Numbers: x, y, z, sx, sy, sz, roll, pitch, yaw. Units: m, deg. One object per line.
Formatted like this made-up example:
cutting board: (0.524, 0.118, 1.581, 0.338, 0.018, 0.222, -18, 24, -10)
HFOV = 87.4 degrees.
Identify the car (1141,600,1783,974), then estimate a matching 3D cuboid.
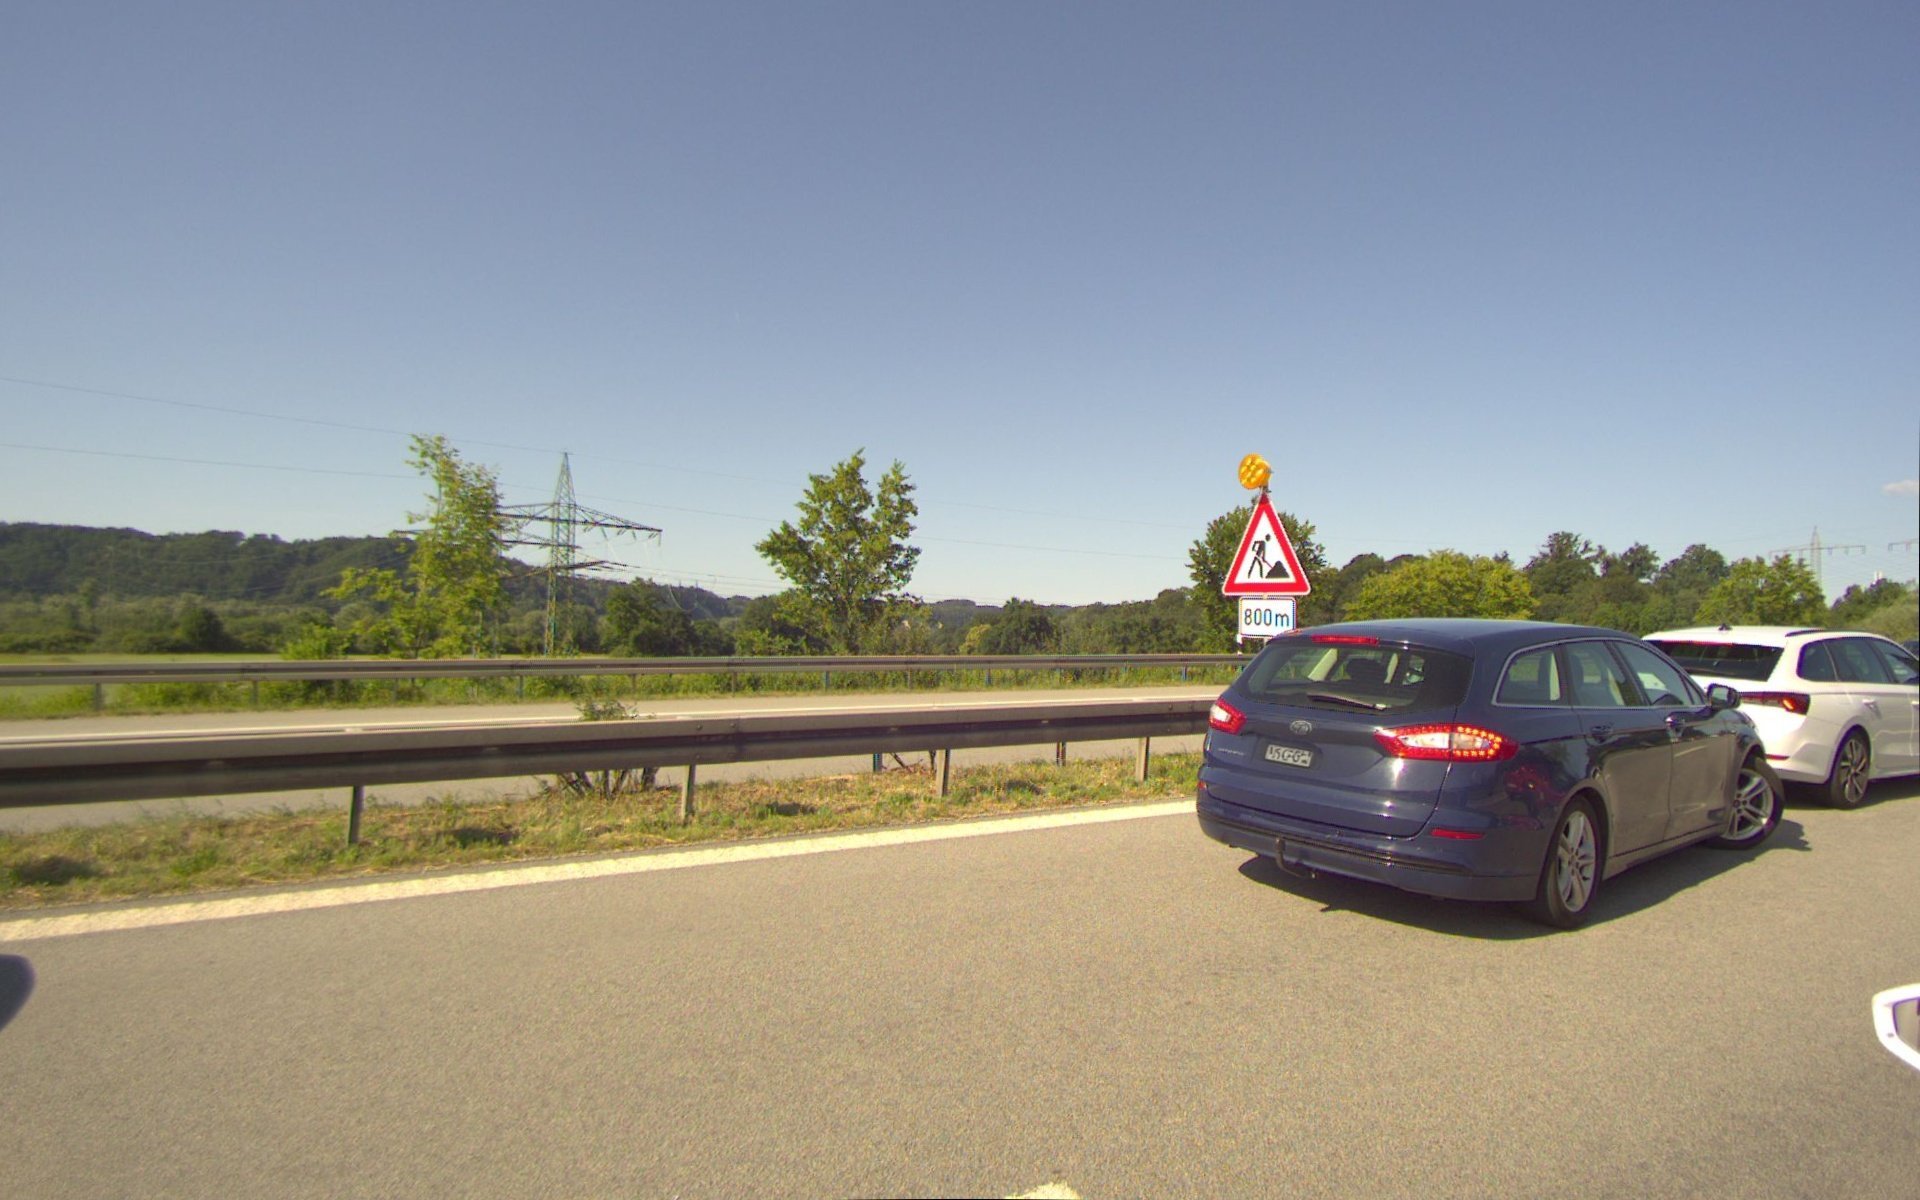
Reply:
car: (3.283, 0.822, 6.146, 4.452, 1.513, 1.775, 2, -2, -38)

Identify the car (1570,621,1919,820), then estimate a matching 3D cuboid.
car: (7.744, 0.971, 9.376, 4.159, 1.461, 1.687, 1, 0, -30)

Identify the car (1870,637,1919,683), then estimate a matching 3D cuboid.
car: (32.750, 2.006, 33.939, 4.353, 1.444, 1.705, 1, 0, -30)
